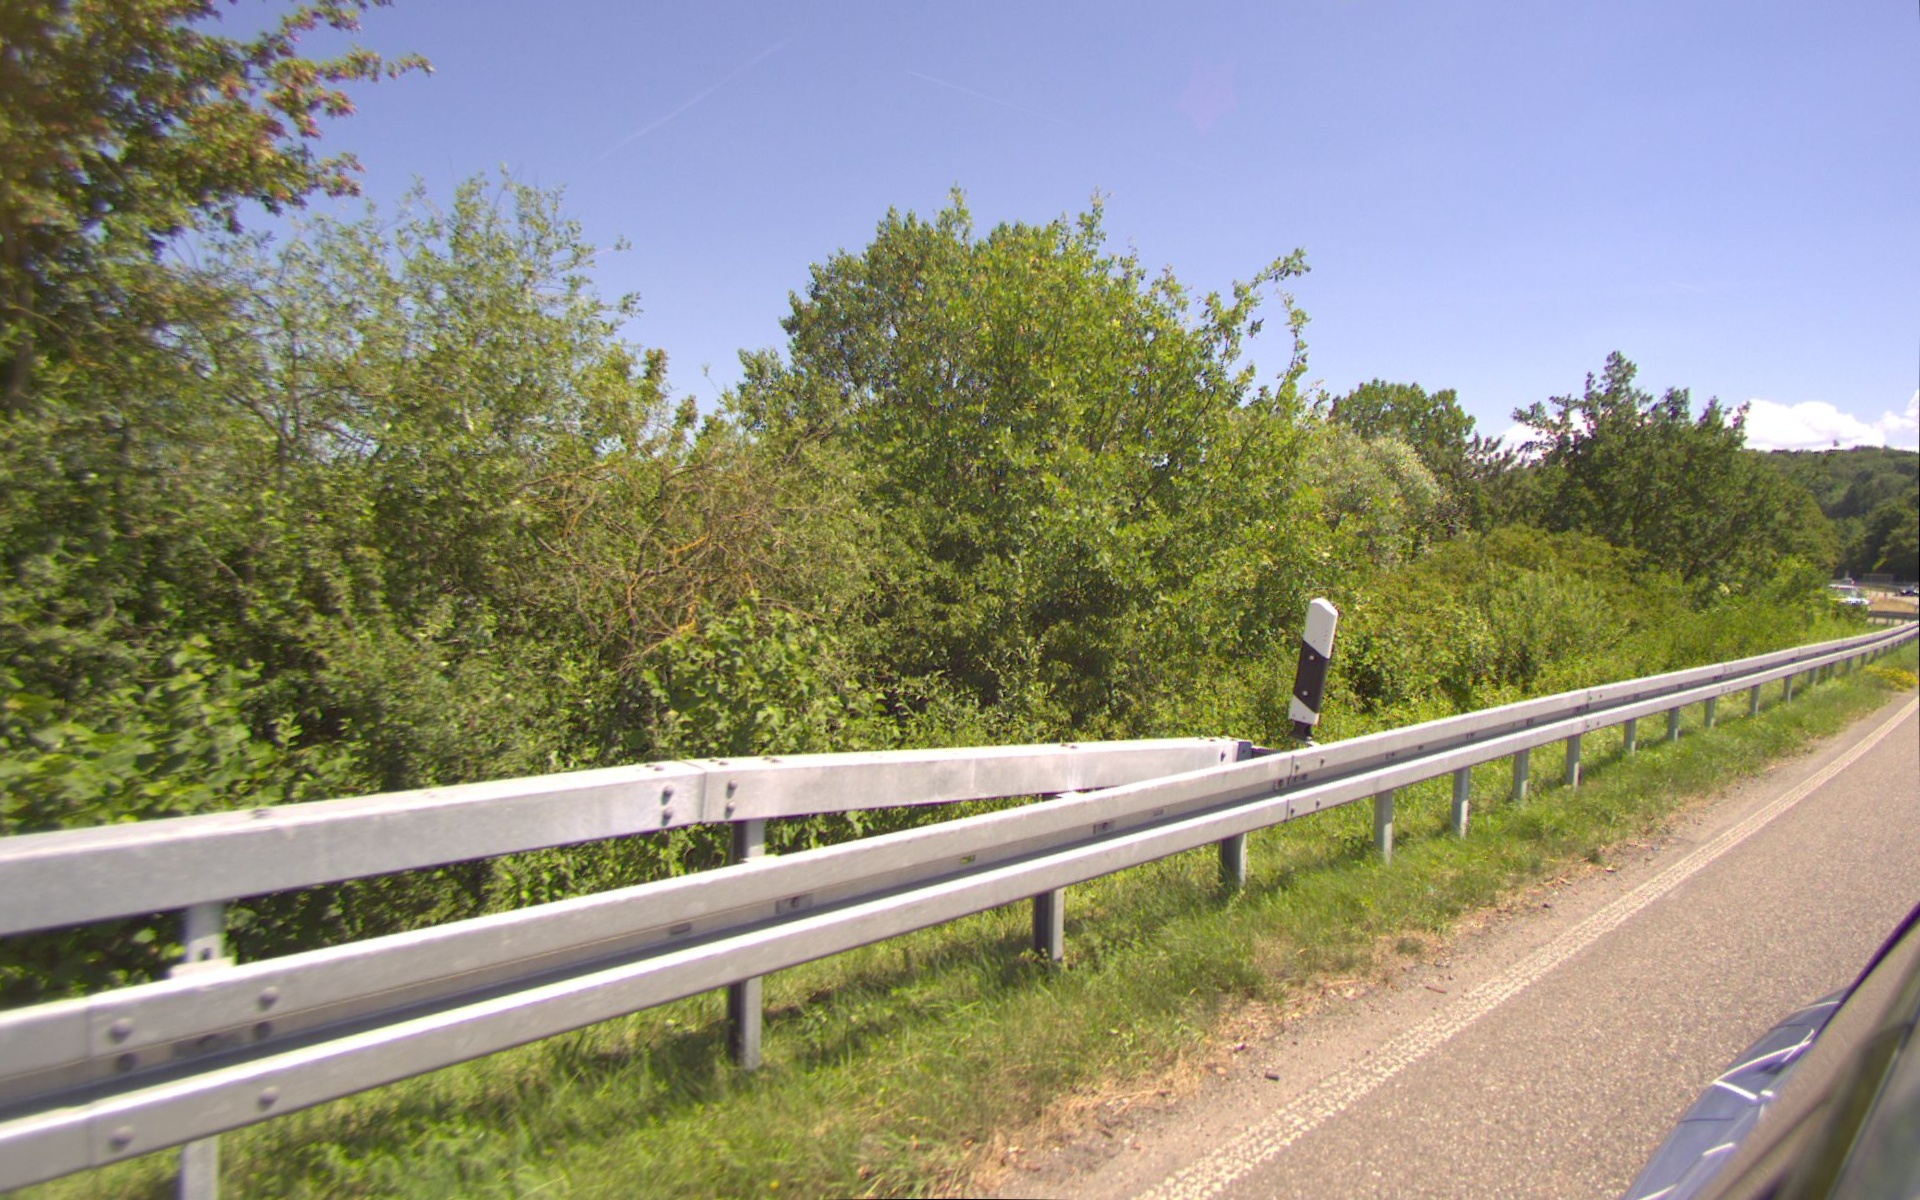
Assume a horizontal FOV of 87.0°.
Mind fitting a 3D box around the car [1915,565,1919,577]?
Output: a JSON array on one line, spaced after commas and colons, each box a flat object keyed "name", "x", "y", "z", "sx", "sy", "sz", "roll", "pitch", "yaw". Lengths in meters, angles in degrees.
[{"name": "car", "x": 171.717, "y": -5.167, "z": 180.016, "sx": 1.988, "sy": 1.916, "sz": 4.849, "roll": 2, "pitch": 3, "yaw": 36}]

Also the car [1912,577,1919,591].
[{"name": "car", "x": 124.440, "y": -2.042, "z": 130.735, "sx": 1.869, "sy": 1.623, "sz": 3.942, "roll": 2, "pitch": 3, "yaw": 41}]

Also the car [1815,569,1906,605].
[{"name": "car", "x": 47.557, "y": -0.736, "z": 53.565, "sx": 1.860, "sy": 1.755, "sz": 4.447, "roll": 0, "pitch": 2, "yaw": 17}]
